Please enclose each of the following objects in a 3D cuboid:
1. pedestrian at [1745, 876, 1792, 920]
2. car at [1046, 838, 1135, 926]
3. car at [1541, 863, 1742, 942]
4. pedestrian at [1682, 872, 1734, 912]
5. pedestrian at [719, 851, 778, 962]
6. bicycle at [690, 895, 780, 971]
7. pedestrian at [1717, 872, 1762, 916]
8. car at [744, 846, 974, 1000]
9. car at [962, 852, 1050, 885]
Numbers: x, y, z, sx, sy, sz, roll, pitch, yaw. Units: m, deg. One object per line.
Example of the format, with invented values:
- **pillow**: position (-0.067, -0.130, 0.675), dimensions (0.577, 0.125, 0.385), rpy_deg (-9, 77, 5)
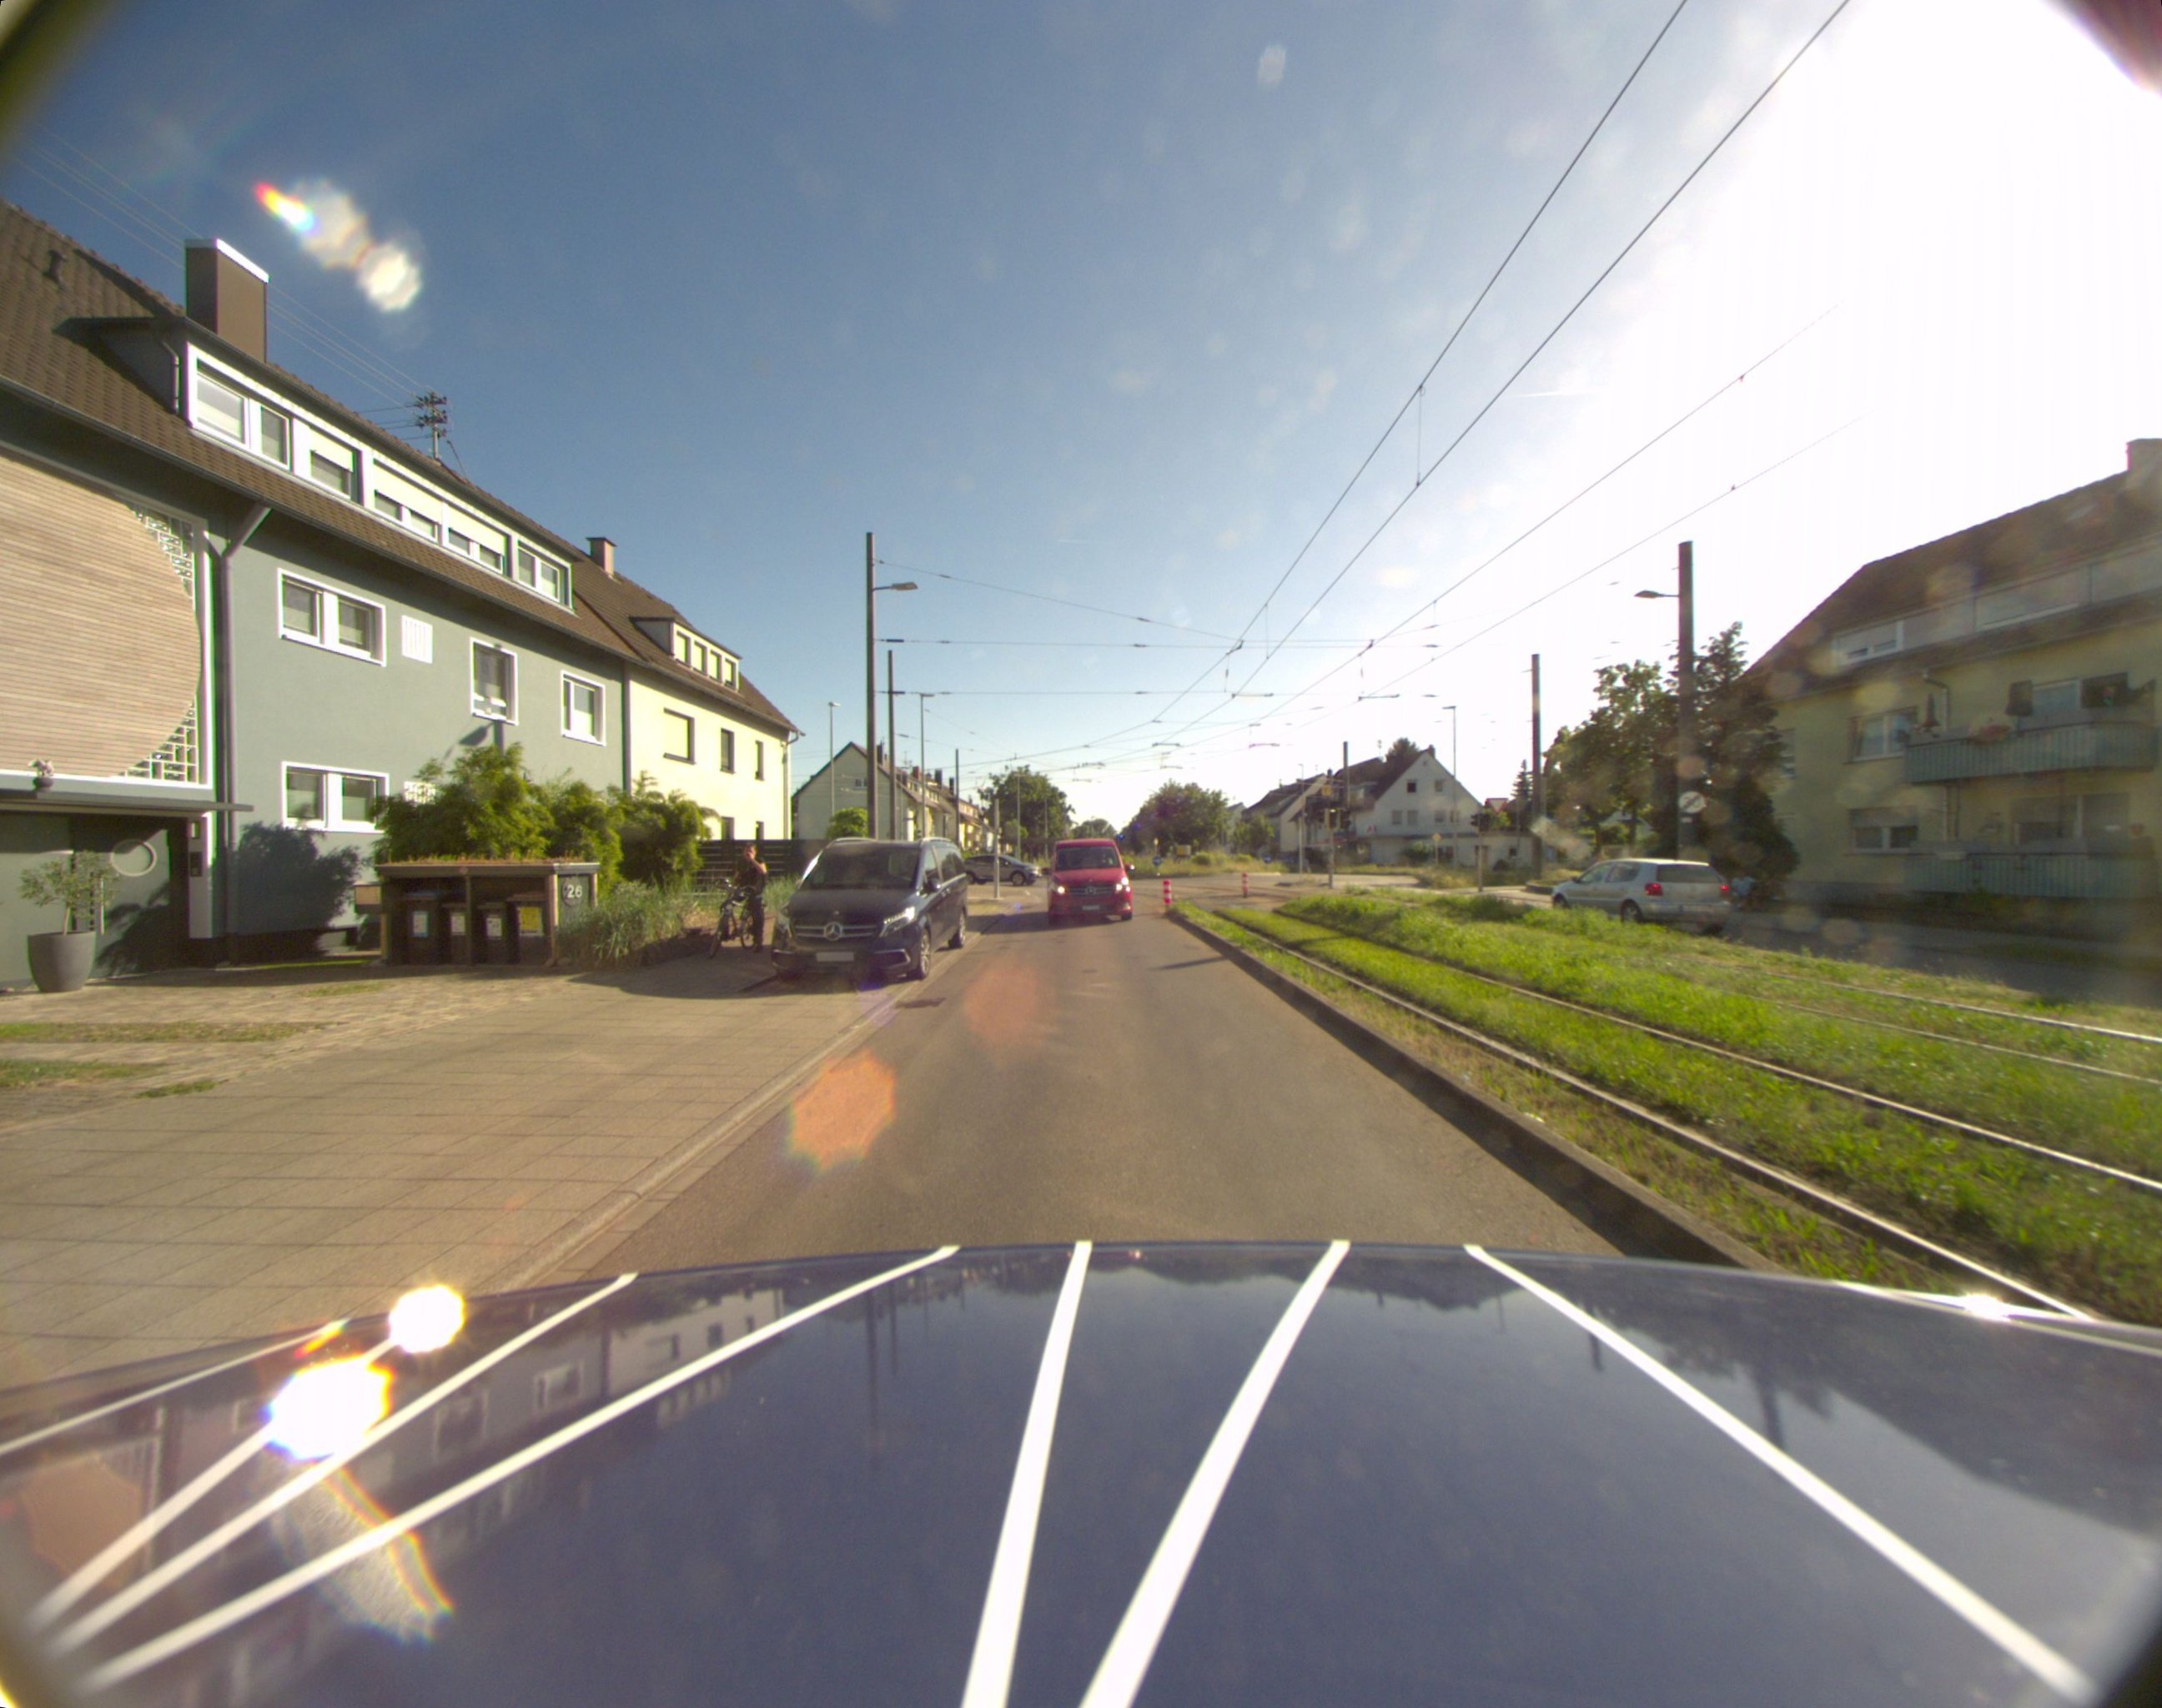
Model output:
- **pedestrian**: position (17.051, 1.084, 18.847), dimensions (0.725, 1.000, 0.594), rpy_deg (-1, 2, -23)
- **car**: position (0.122, 0.631, 20.041), dimensions (1.999, 1.970, 5.236), rpy_deg (-2, 0, -2)
- **car**: position (11.363, 0.910, 15.733), dimensions (1.553, 1.403, 3.659), rpy_deg (0, 0, 2)
- **pedestrian**: position (16.840, 1.009, 20.408), dimensions (0.819, 1.040, 0.687), rpy_deg (0, 1, -2)
- **pedestrian**: position (-5.284, 0.810, 12.108), dimensions (0.584, 1.713, 0.714), rpy_deg (0, 1, 2)
- **bicycle**: position (-5.304, 1.185, 11.746), dimensions (0.602, 0.974, 1.562), rpy_deg (1, 1, 3)
- **pedestrian**: position (16.940, 1.008, 19.549), dimensions (0.821, 1.059, 0.625), rpy_deg (-2, 3, -32)
- **car**: position (-2.991, 0.806, 11.504), dimensions (1.966, 1.825, 4.927), rpy_deg (0, 0, 1)
- **car**: position (-3.742, 0.718, 38.181), dimensions (3.992, 1.570, 1.833), rpy_deg (0, 0, 14)
